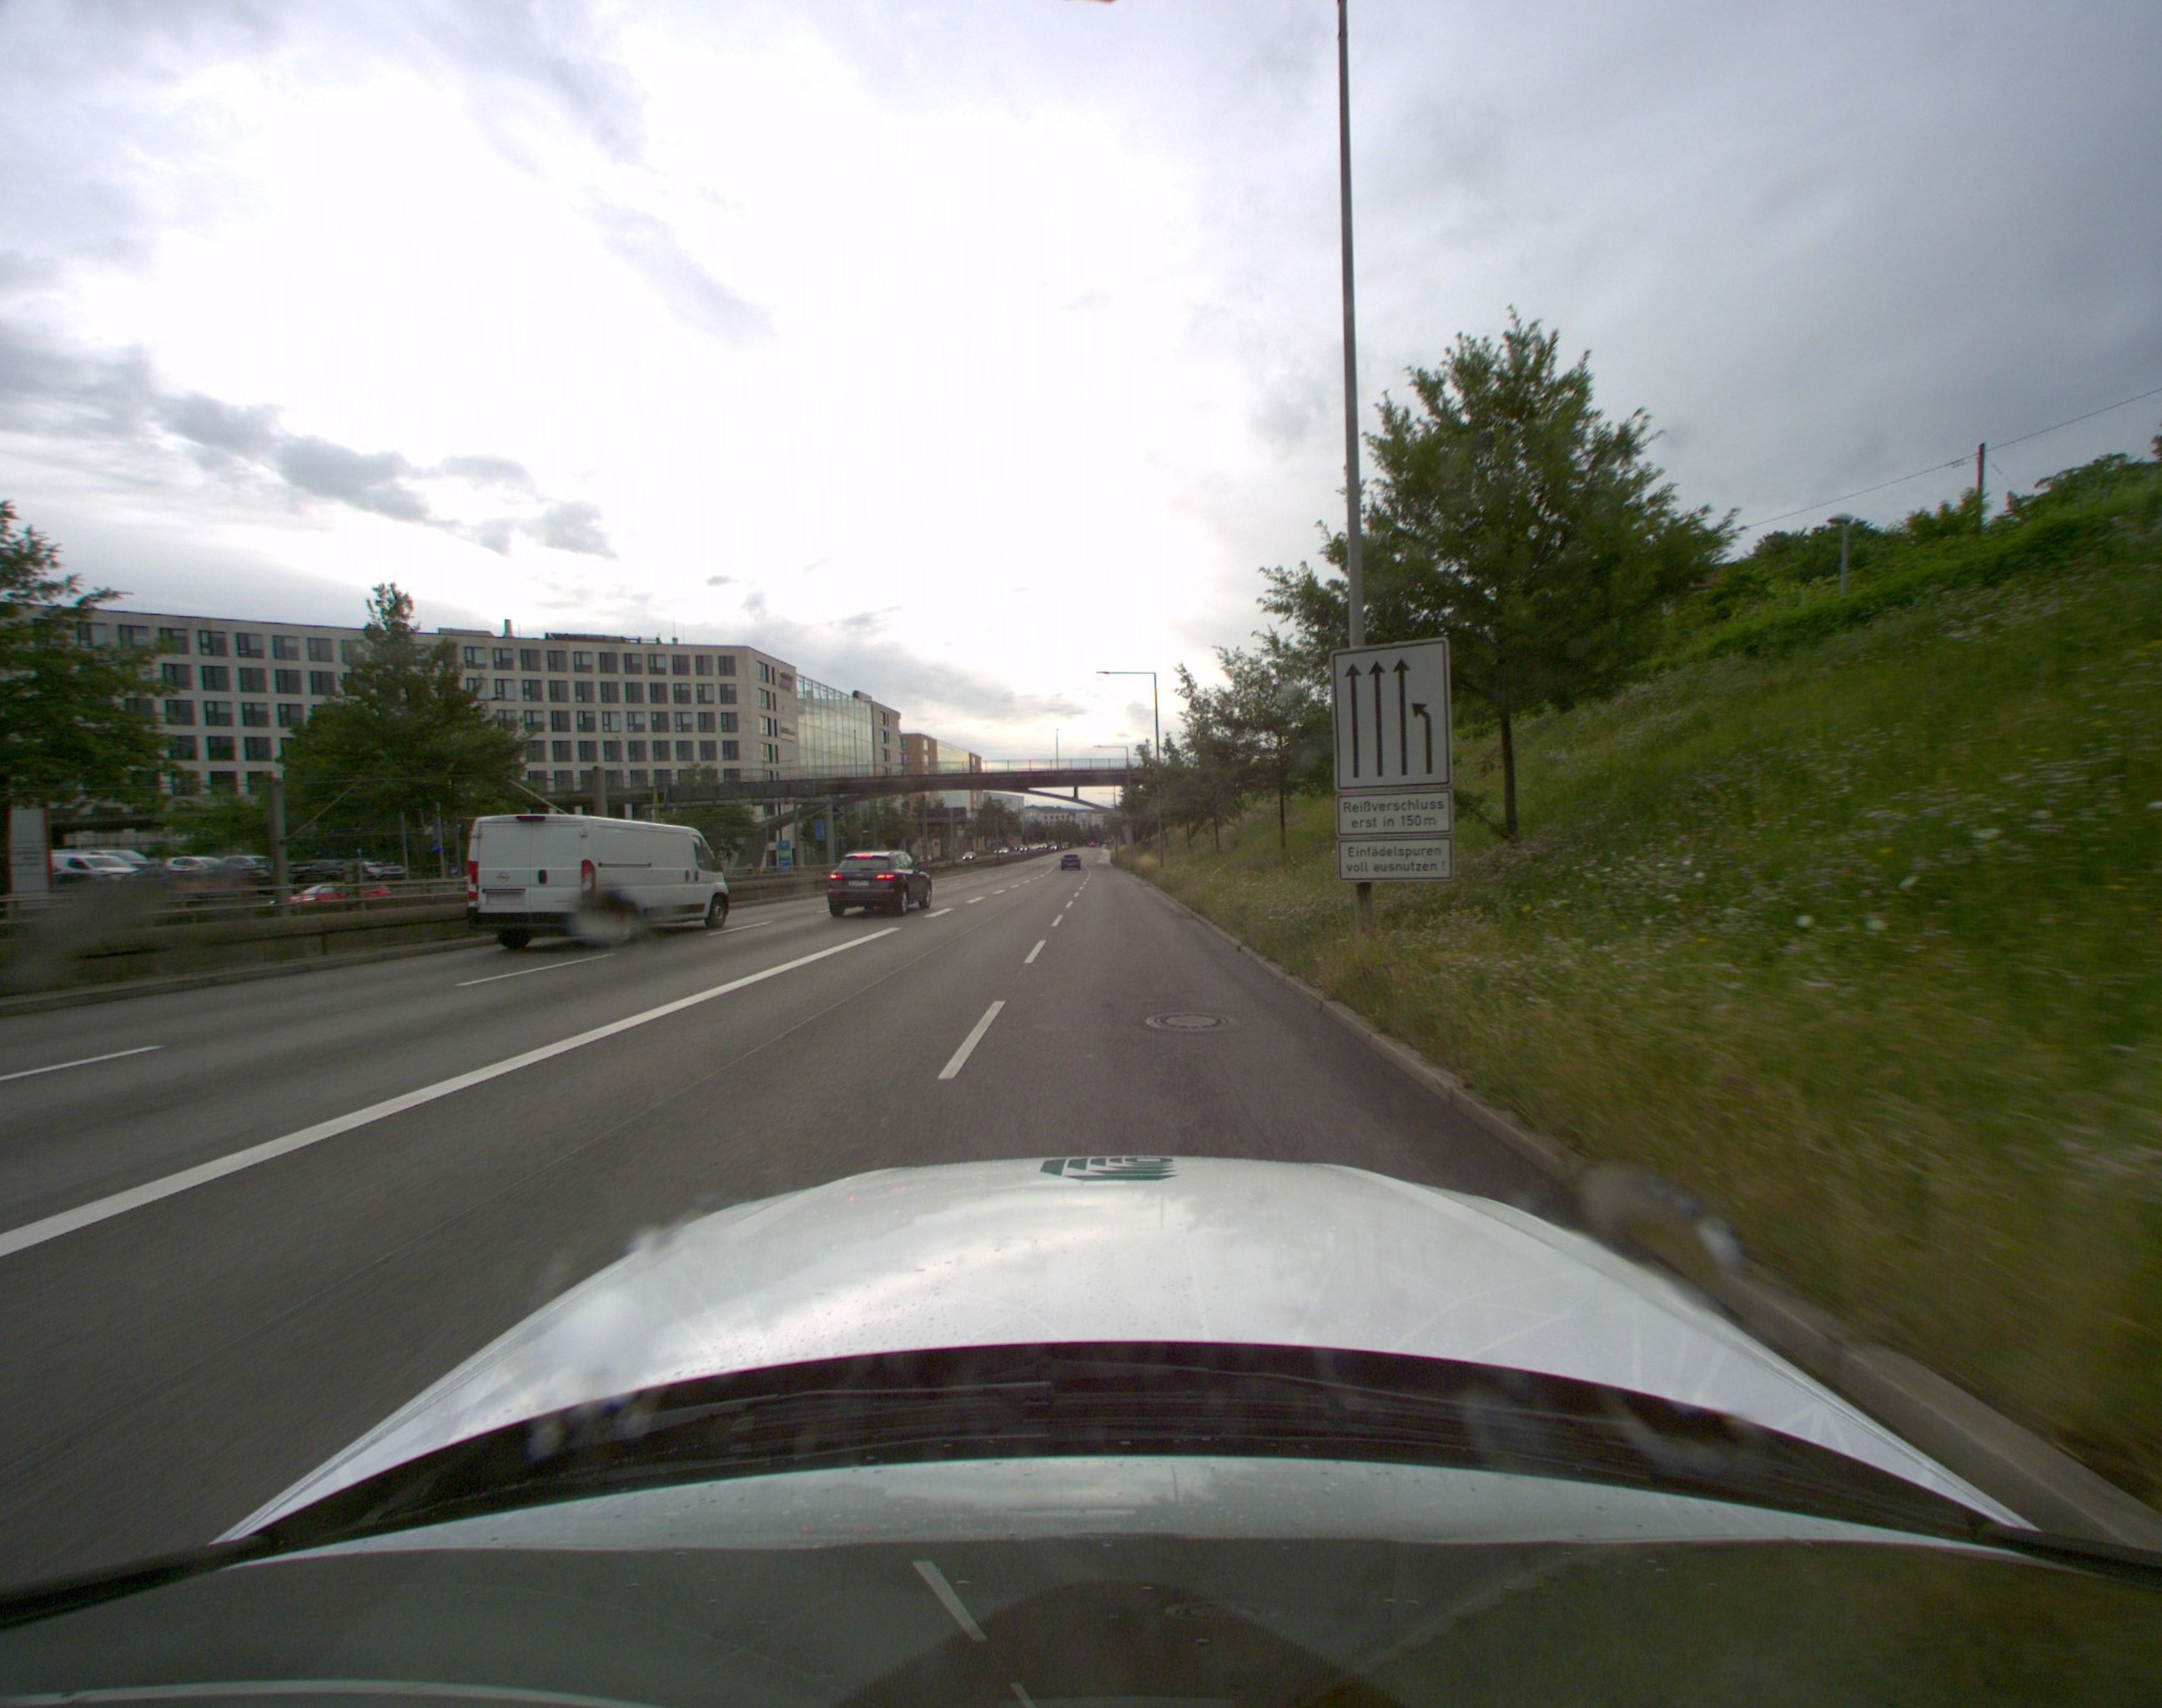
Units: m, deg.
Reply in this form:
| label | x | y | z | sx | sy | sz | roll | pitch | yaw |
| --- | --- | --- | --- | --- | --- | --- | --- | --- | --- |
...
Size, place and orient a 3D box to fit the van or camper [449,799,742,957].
| label | x | y | z | sx | sy | sz | roll | pitch | yaw |
| --- | --- | --- | --- | --- | --- | --- | --- | --- | --- |
| van or camper | -8.788 | 0.371 | 15.580 | 2.196 | 2.439 | 5.531 | -1 | 0 | 1 |

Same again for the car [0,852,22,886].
| label | x | y | z | sx | sy | sz | roll | pitch | yaw |
| --- | --- | --- | --- | --- | --- | --- | --- | --- | --- |
| car | -55.588 | 0.776 | 40.158 | 3.975 | 1.650 | 2.000 | 0 | 3 | -1 |

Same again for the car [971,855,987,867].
| label | x | y | z | sx | sy | sz | roll | pitch | yaw |
| --- | --- | --- | --- | --- | --- | --- | --- | --- | --- |
| car | -15.992 | 1.101 | 127.599 | 1.987 | 1.705 | 4.000 | 0 | 3 | -1 |

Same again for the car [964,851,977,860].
| label | x | y | z | sx | sy | sz | roll | pitch | yaw |
| --- | --- | --- | --- | --- | --- | --- | --- | --- | --- |
| car | -23.625 | 0.339 | 174.125 | 1.985 | 2.013 | 4.003 | -1 | 0 | 3 |

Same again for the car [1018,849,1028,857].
| label | x | y | z | sx | sy | sz | roll | pitch | yaw |
| --- | --- | --- | --- | --- | --- | --- | --- | --- | --- |
| car | -14.071 | -0.264 | 198.560 | 1.985 | 2.013 | 4.003 | -1 | 0 | 3 |

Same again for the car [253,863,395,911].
| label | x | y | z | sx | sy | sz | roll | pitch | yaw |
| --- | --- | --- | --- | --- | --- | --- | --- | --- | --- |
| car | -30.716 | 1.279 | 33.241 | 1.987 | 1.777 | 4.102 | 0 | 0 | 0 |

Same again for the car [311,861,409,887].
| label | x | y | z | sx | sy | sz | roll | pitch | yaw |
| --- | --- | --- | --- | --- | --- | --- | --- | --- | --- |
| car | -40.607 | 1.098 | 45.935 | 3.970 | 1.354 | 1.851 | 0 | 0 | 3 |

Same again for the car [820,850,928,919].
| label | x | y | z | sx | sy | sz | roll | pitch | yaw |
| --- | --- | --- | --- | --- | --- | --- | --- | --- | --- |
| car | -5.413 | 0.736 | 21.928 | 1.746 | 1.617 | 4.746 | -1 | 0 | -1 |

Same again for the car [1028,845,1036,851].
| label | x | y | z | sx | sy | sz | roll | pitch | yaw |
| --- | --- | --- | --- | --- | --- | --- | --- | --- | --- |
| car | -14.099 | -1.736 | 235.524 | 1.985 | 1.735 | 4.252 | 0 | 3 | 3 |

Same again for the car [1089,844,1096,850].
| label | x | y | z | sx | sy | sz | roll | pitch | yaw |
| --- | --- | --- | --- | --- | --- | --- | --- | --- | --- |
| car | 3.697 | -2.217 | 258.794 | 1.858 | 1.749 | 3.998 | 0 | 3 | -2 |

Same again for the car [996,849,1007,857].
| label | x | y | z | sx | sy | sz | roll | pitch | yaw |
| --- | --- | --- | --- | --- | --- | --- | --- | --- | --- |
| car | -18.461 | -0.237 | 189.885 | 1.985 | 1.735 | 4.252 | 0 | 3 | 3 |

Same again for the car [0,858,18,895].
| label | x | y | z | sx | sy | sz | roll | pitch | yaw |
| --- | --- | --- | --- | --- | --- | --- | --- | --- | --- |
| car | -50.541 | 1.045 | 36.123 | 3.975 | 1.650 | 2.000 | 0 | 3 | -1 |

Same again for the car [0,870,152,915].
| label | x | y | z | sx | sy | sz | roll | pitch | yaw |
| --- | --- | --- | --- | --- | --- | --- | --- | --- | --- |
| car | -41.482 | 1.534 | 33.390 | 4.010 | 1.651 | 1.982 | 0 | 1 | -29 |

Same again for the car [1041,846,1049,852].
| label | x | y | z | sx | sy | sz | roll | pitch | yaw |
| --- | --- | --- | --- | --- | --- | --- | --- | --- | --- |
| car | -10.605 | -1.514 | 242.338 | 1.985 | 1.735 | 4.252 | 0 | 3 | 3 |

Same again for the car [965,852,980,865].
| label | x | y | z | sx | sy | sz | roll | pitch | yaw |
| --- | --- | --- | --- | --- | --- | --- | --- | --- | --- |
| car | -17.987 | 0.743 | 135.400 | 1.987 | 2.013 | 4.001 | 0 | 3 | 0 |

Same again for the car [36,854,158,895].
| label | x | y | z | sx | sy | sz | roll | pitch | yaw |
| --- | --- | --- | --- | --- | --- | --- | --- | --- | --- |
| car | -49.696 | 1.007 | 41.175 | 3.966 | 1.875 | 2.004 | 0 | 2 | 6 |

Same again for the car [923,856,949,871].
| label | x | y | z | sx | sy | sz | roll | pitch | yaw |
| --- | --- | --- | --- | --- | --- | --- | --- | --- | --- |
| car | -14.033 | 0.917 | 79.057 | 1.742 | 1.420 | 3.479 | -1 | 0 | 1 |

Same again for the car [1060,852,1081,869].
| label | x | y | z | sx | sy | sz | roll | pitch | yaw |
| --- | --- | --- | --- | --- | --- | --- | --- | --- | --- |
| car | -0.892 | 0.579 | 73.264 | 1.742 | 1.420 | 3.479 | -1 | 1 | 1 |

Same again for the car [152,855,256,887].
| label | x | y | z | sx | sy | sz | roll | pitch | yaw |
| --- | --- | --- | --- | --- | --- | --- | --- | --- | --- |
| car | -50.120 | 0.955 | 46.570 | 3.966 | 1.650 | 2.004 | 0 | 3 | 6 |

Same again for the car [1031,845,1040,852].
| label | x | y | z | sx | sy | sz | roll | pitch | yaw |
| --- | --- | --- | --- | --- | --- | --- | --- | --- | --- |
| car | -12.278 | -1.591 | 219.671 | 1.985 | 1.735 | 4.252 | 0 | 3 | 3 |

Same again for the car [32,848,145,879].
| label | x | y | z | sx | sy | sz | roll | pitch | yaw |
| --- | --- | --- | --- | --- | --- | --- | --- | --- | --- |
| car | -56.363 | 0.520 | 46.321 | 3.977 | 1.650 | 1.820 | 0 | 2 | -2 |

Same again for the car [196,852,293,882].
| label | x | y | z | sx | sy | sz | roll | pitch | yaw |
| --- | --- | --- | --- | --- | --- | --- | --- | --- | --- |
| car | -50.427 | 0.787 | 49.123 | 3.966 | 1.650 | 2.004 | 0 | 3 | 6 |

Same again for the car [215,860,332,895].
| label | x | y | z | sx | sy | sz | roll | pitch | yaw |
| --- | --- | --- | --- | --- | --- | --- | --- | --- | --- |
| car | -40.693 | 1.178 | 41.101 | 3.970 | 1.651 | 2.002 | 0 | 0 | 3 |
